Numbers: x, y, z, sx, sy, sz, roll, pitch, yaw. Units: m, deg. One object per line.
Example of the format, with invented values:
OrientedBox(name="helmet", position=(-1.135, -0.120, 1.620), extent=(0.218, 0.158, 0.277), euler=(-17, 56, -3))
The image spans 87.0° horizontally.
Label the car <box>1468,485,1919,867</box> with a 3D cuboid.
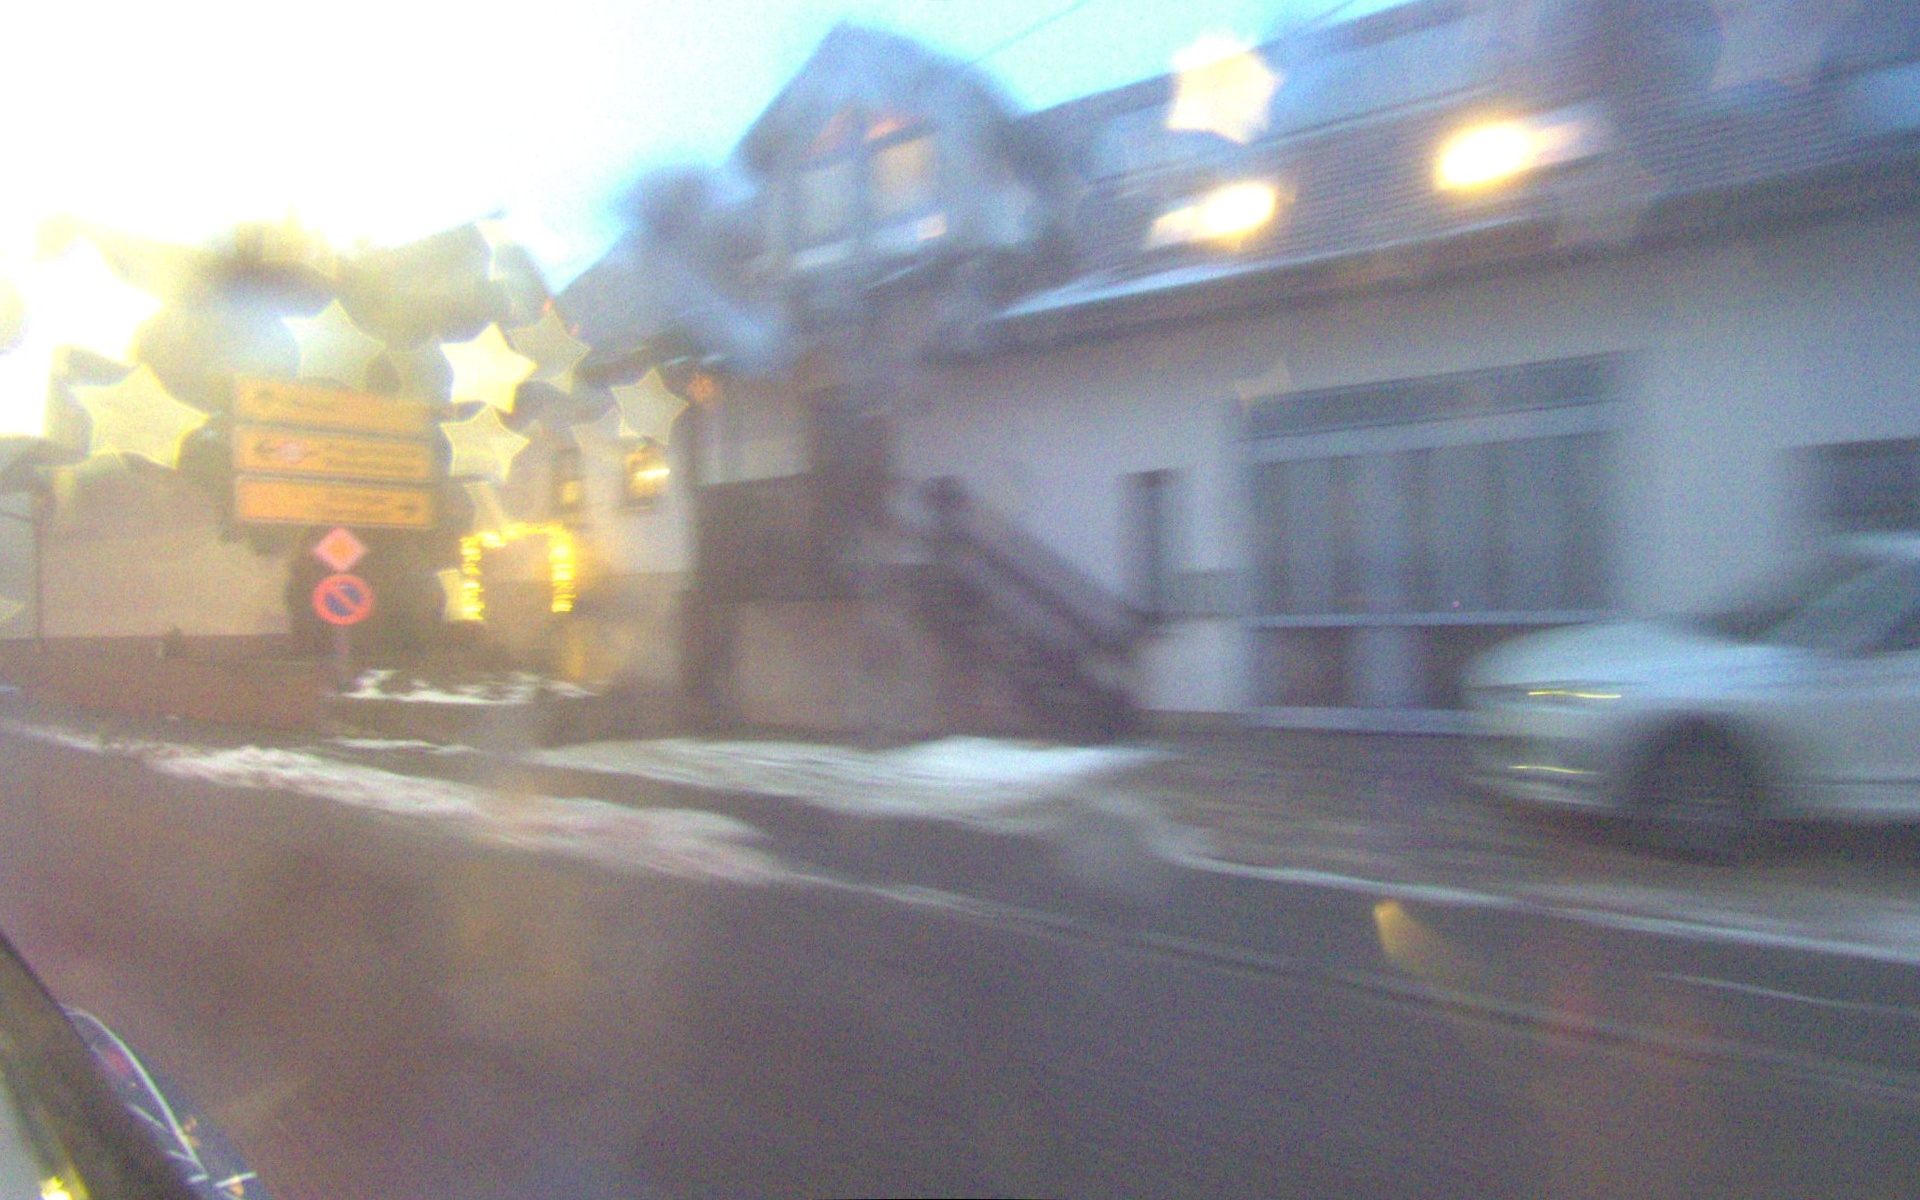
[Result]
OrientedBox(name="car", position=(5.288, 0.269, 5.222), extent=(4.613, 1.749, 1.756), euler=(-4, 3, 26))
